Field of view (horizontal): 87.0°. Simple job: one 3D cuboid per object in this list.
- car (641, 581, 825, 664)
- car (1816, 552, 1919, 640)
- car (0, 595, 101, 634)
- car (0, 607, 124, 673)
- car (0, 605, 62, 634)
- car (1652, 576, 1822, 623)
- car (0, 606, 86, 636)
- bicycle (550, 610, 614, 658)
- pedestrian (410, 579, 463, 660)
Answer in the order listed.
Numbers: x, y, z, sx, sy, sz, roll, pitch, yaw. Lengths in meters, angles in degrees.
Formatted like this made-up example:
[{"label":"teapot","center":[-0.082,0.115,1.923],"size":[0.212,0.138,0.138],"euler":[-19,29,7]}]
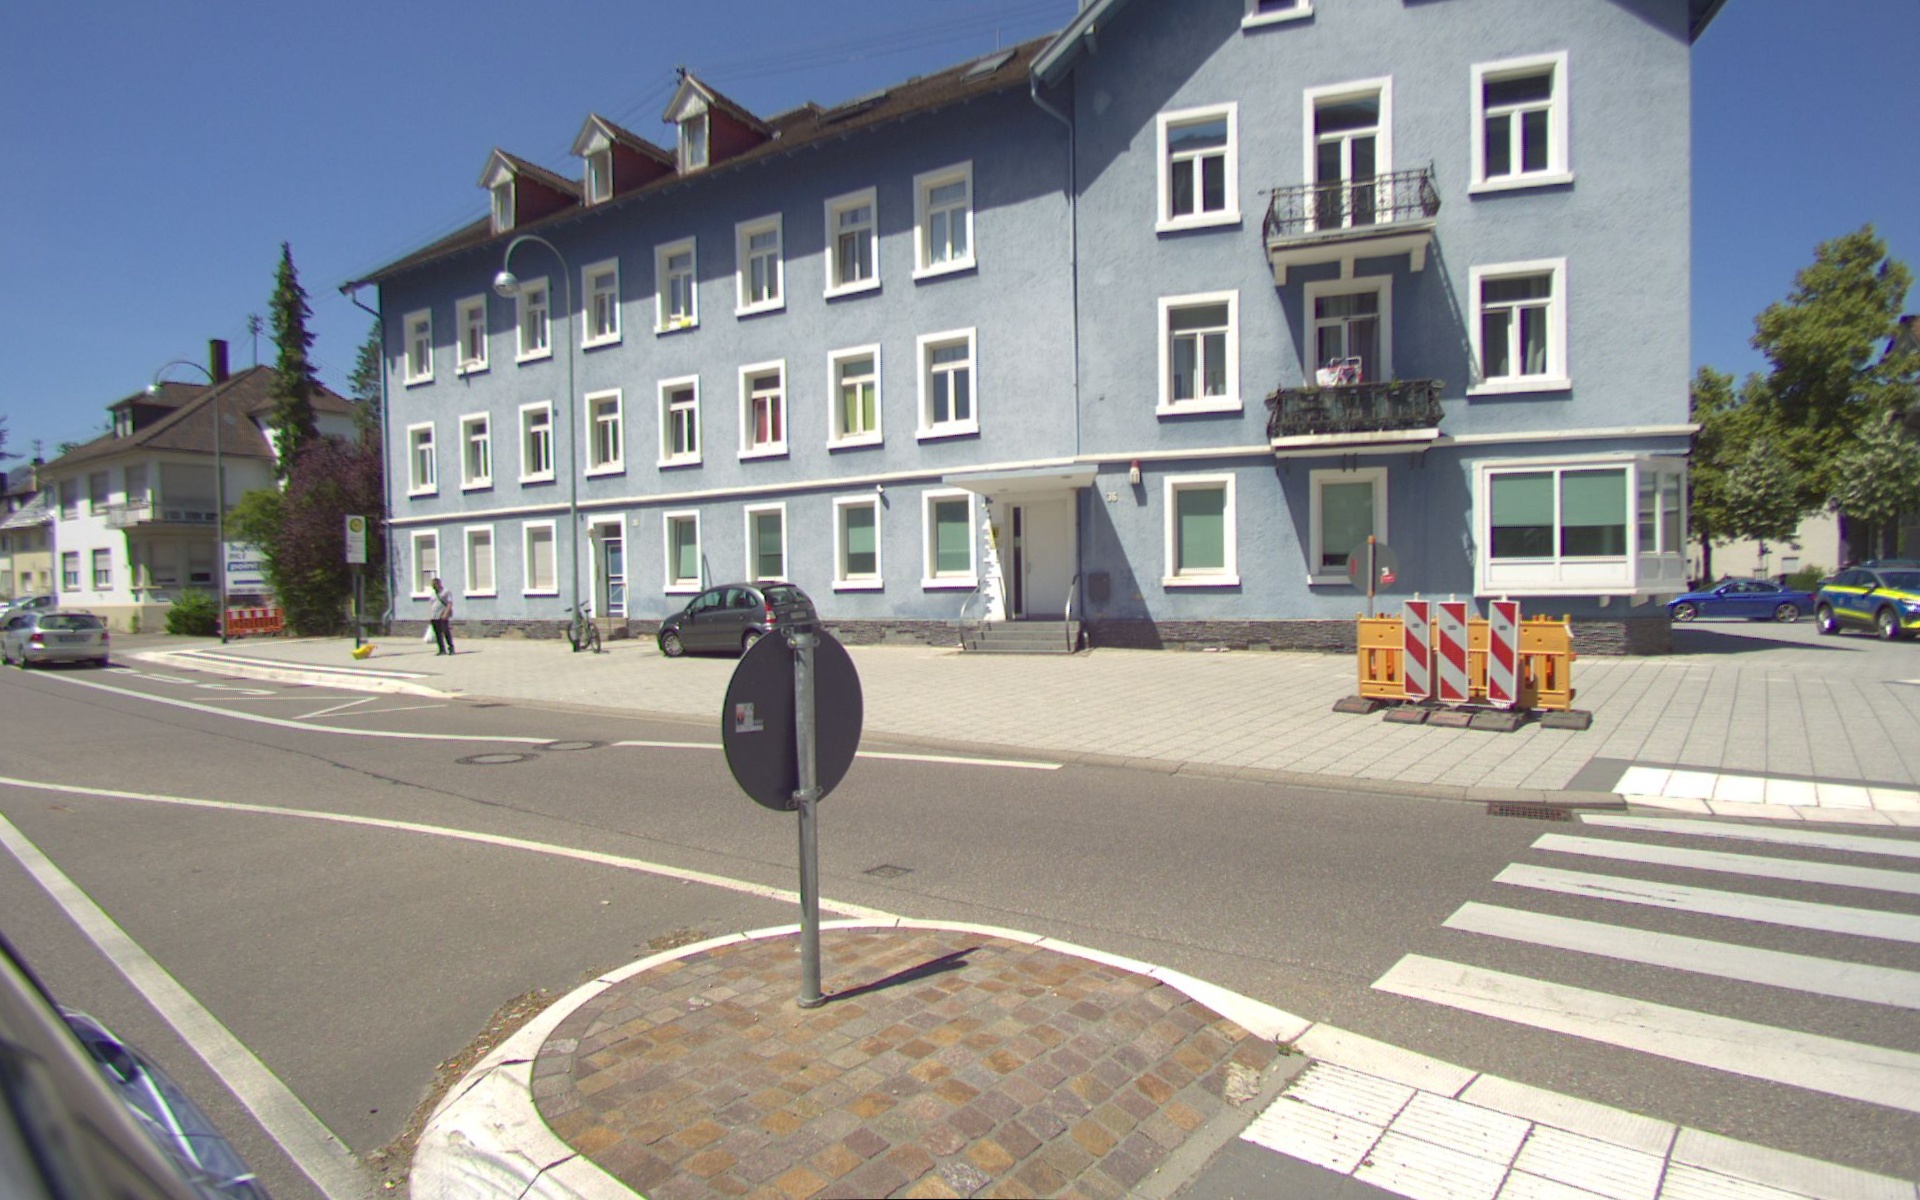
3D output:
[{"label":"car","center":[-4.732,0.402,20.977],"size":[3.765,1.546,1.565],"euler":[1,2,34]},{"label":"car","center":[20.870,-0.136,22.145],"size":[1.767,1.791,4.219],"euler":[-1,1,18]},{"label":"car","center":[-45.844,0.722,50.367],"size":[1.840,1.891,4.326],"euler":[-1,-1,26]},{"label":"car","center":[-23.896,1.123,26.692],"size":[4.385,1.542,1.820],"euler":[-4,-7,37]},{"label":"car","center":[-50.436,1.018,53.419],"size":[4.201,1.507,1.883],"euler":[0,-1,-25]},{"label":"car","center":[25.046,-0.015,32.776],"size":[4.000,1.369,1.651],"euler":[-1,4,19]},{"label":"car","center":[-47.851,1.082,51.751],"size":[1.971,1.507,4.433],"euler":[-1,-1,34]},{"label":"bicycle","center":[-8.602,0.750,22.961],"size":[1.973,0.984,0.490],"euler":[1,6,44]},{"label":"pedestrian","center":[-12.529,0.443,24.238],"size":[0.769,1.861,0.750],"euler":[0,4,31]}]
